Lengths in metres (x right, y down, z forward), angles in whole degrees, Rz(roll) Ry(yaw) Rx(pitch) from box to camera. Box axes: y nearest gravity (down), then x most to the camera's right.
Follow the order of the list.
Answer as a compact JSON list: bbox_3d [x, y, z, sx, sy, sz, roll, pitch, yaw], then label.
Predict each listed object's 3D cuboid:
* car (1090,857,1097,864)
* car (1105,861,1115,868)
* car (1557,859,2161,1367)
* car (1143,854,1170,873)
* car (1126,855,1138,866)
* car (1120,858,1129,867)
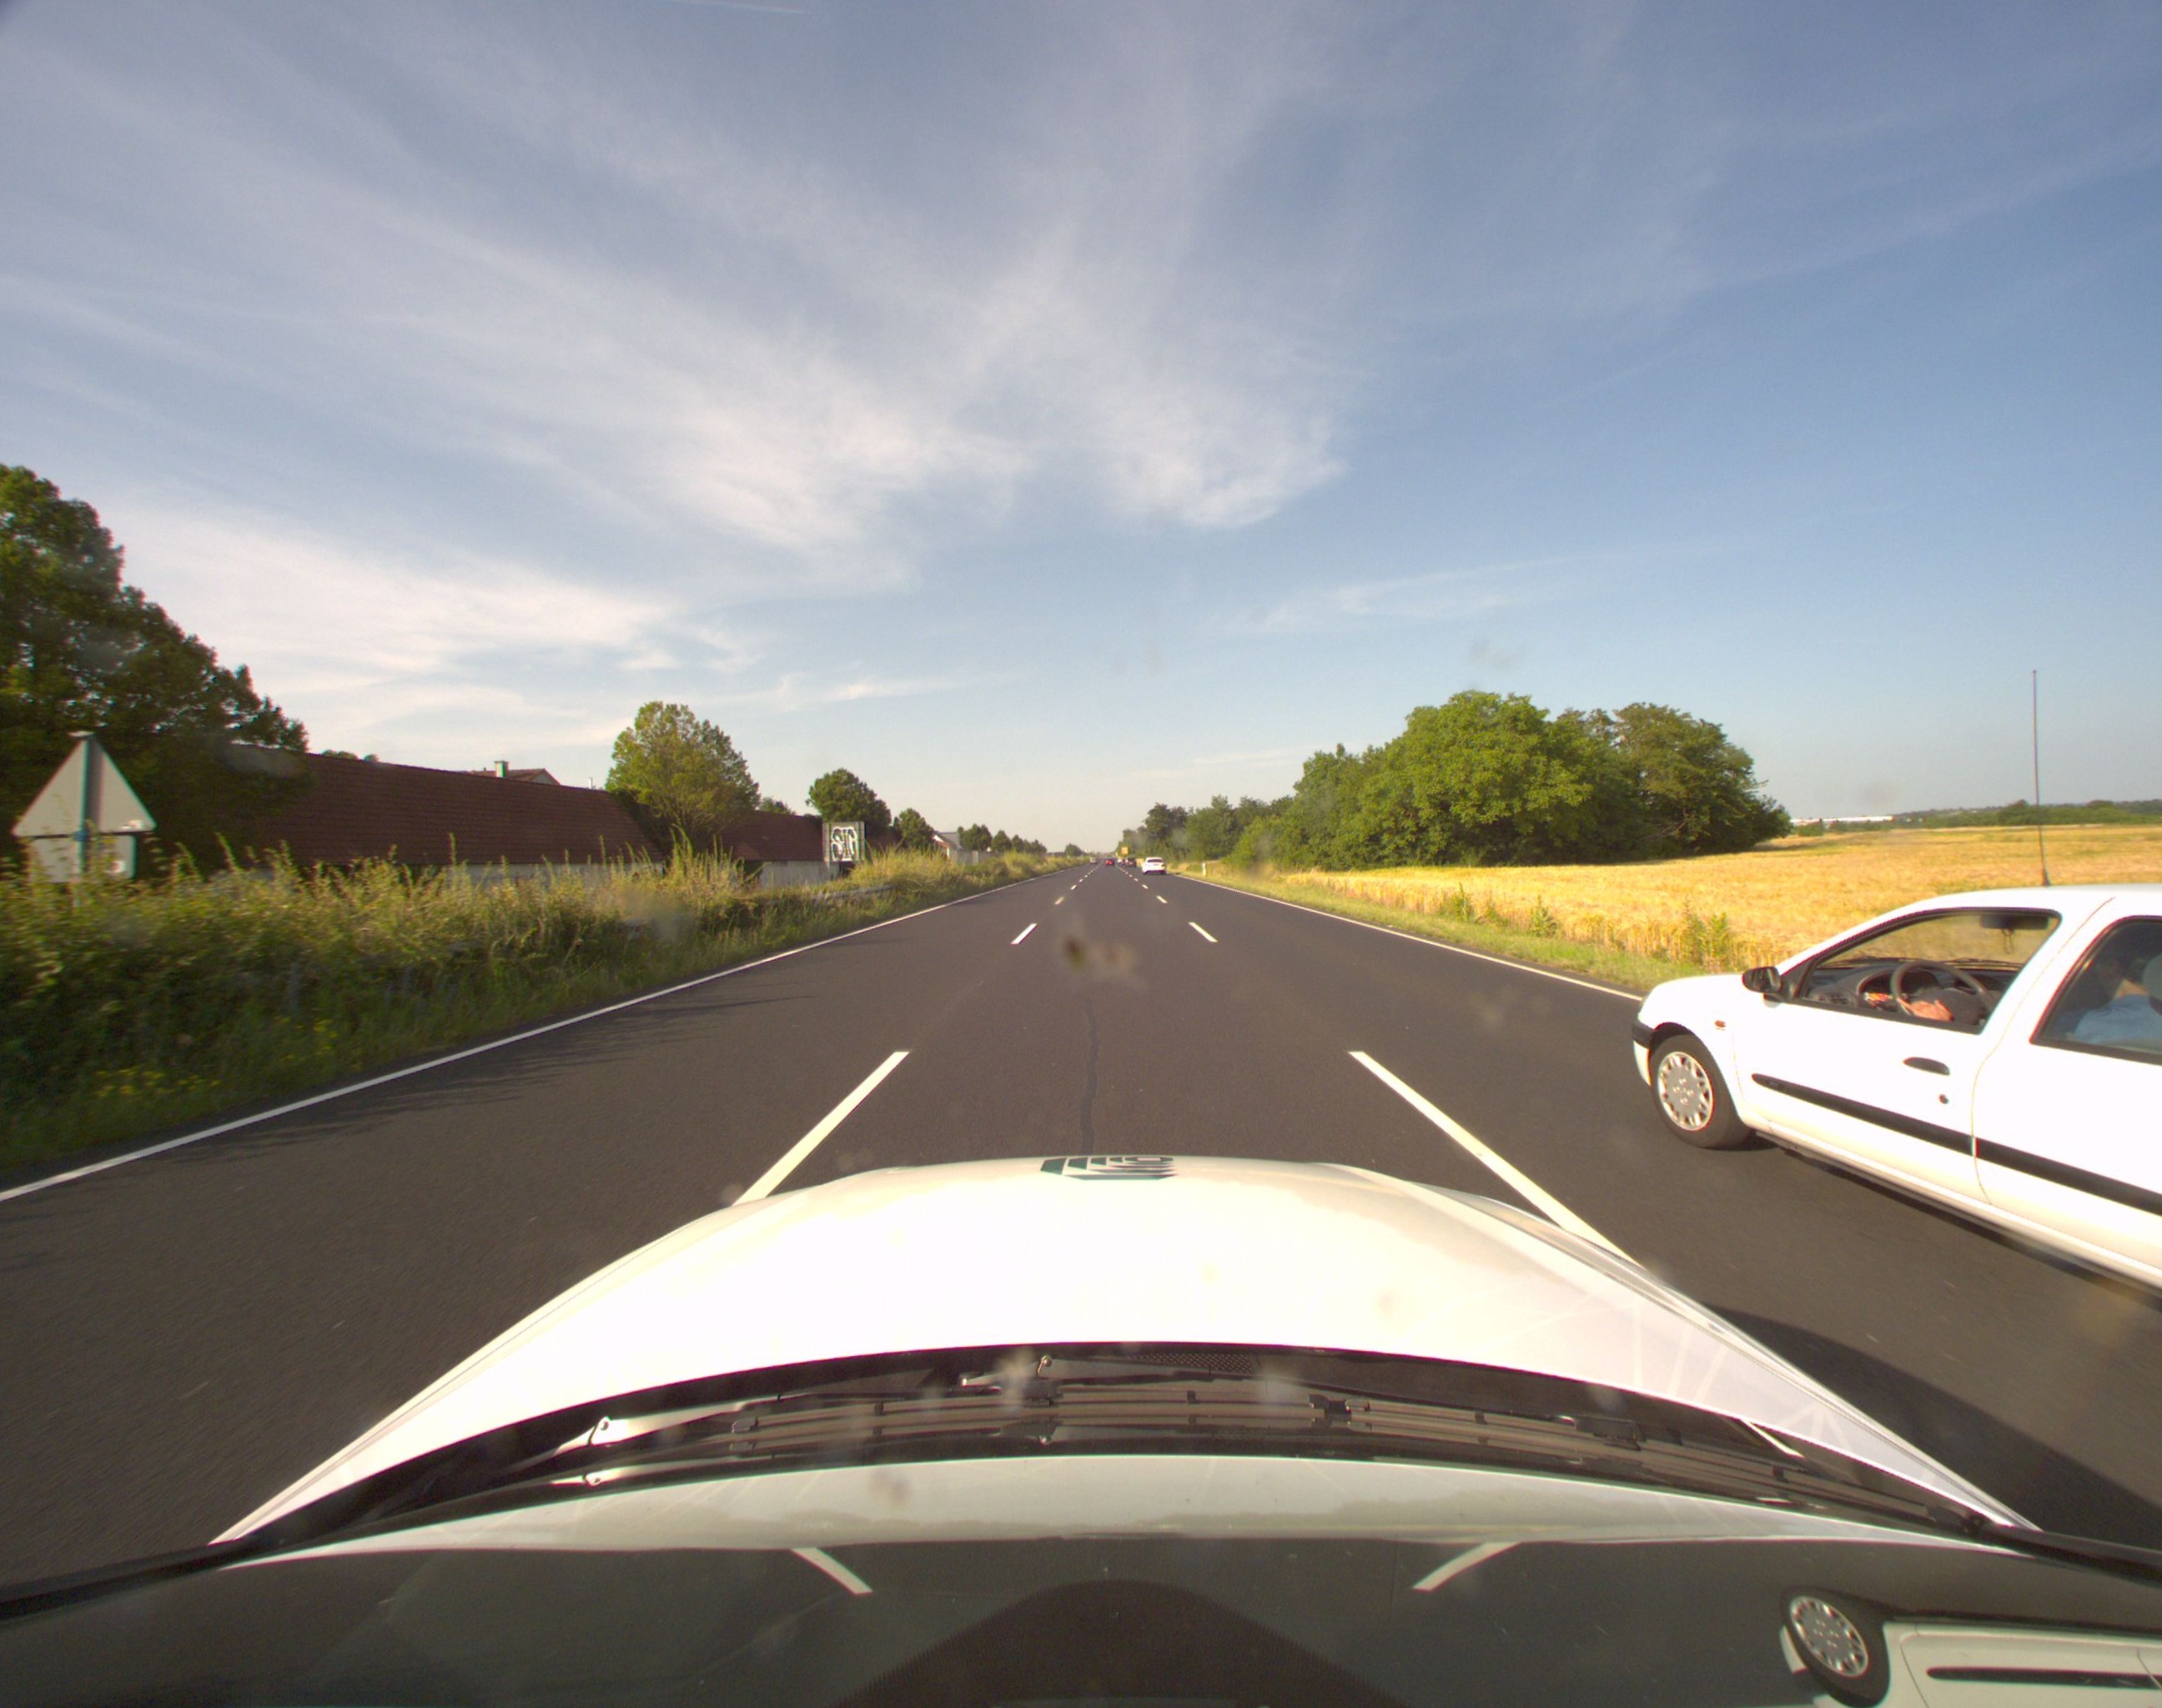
[{"bbox_3d":[3.200,1.665,207.125,1.751,1.618,4.003,0,-1,3],"label":"car"},{"bbox_3d":[5.531,2.009,155.996,1.806,1.436,3.858,0,-1,1],"label":"car"},{"bbox_3d":[3.812,0.728,3.196,1.611,1.387,3.952,-1,-1,1],"label":"car"},{"bbox_3d":[6.249,0.829,67.588,1.986,1.516,4.001,0,-1,2],"label":"car"},{"bbox_3d":[8.000,1.004,127.774,1.821,1.728,4.001,0,-1,1],"label":"car"},{"bbox_3d":[8.920,1.755,167.856,1.827,1.717,3.864,0,-1,2],"label":"car"}]
